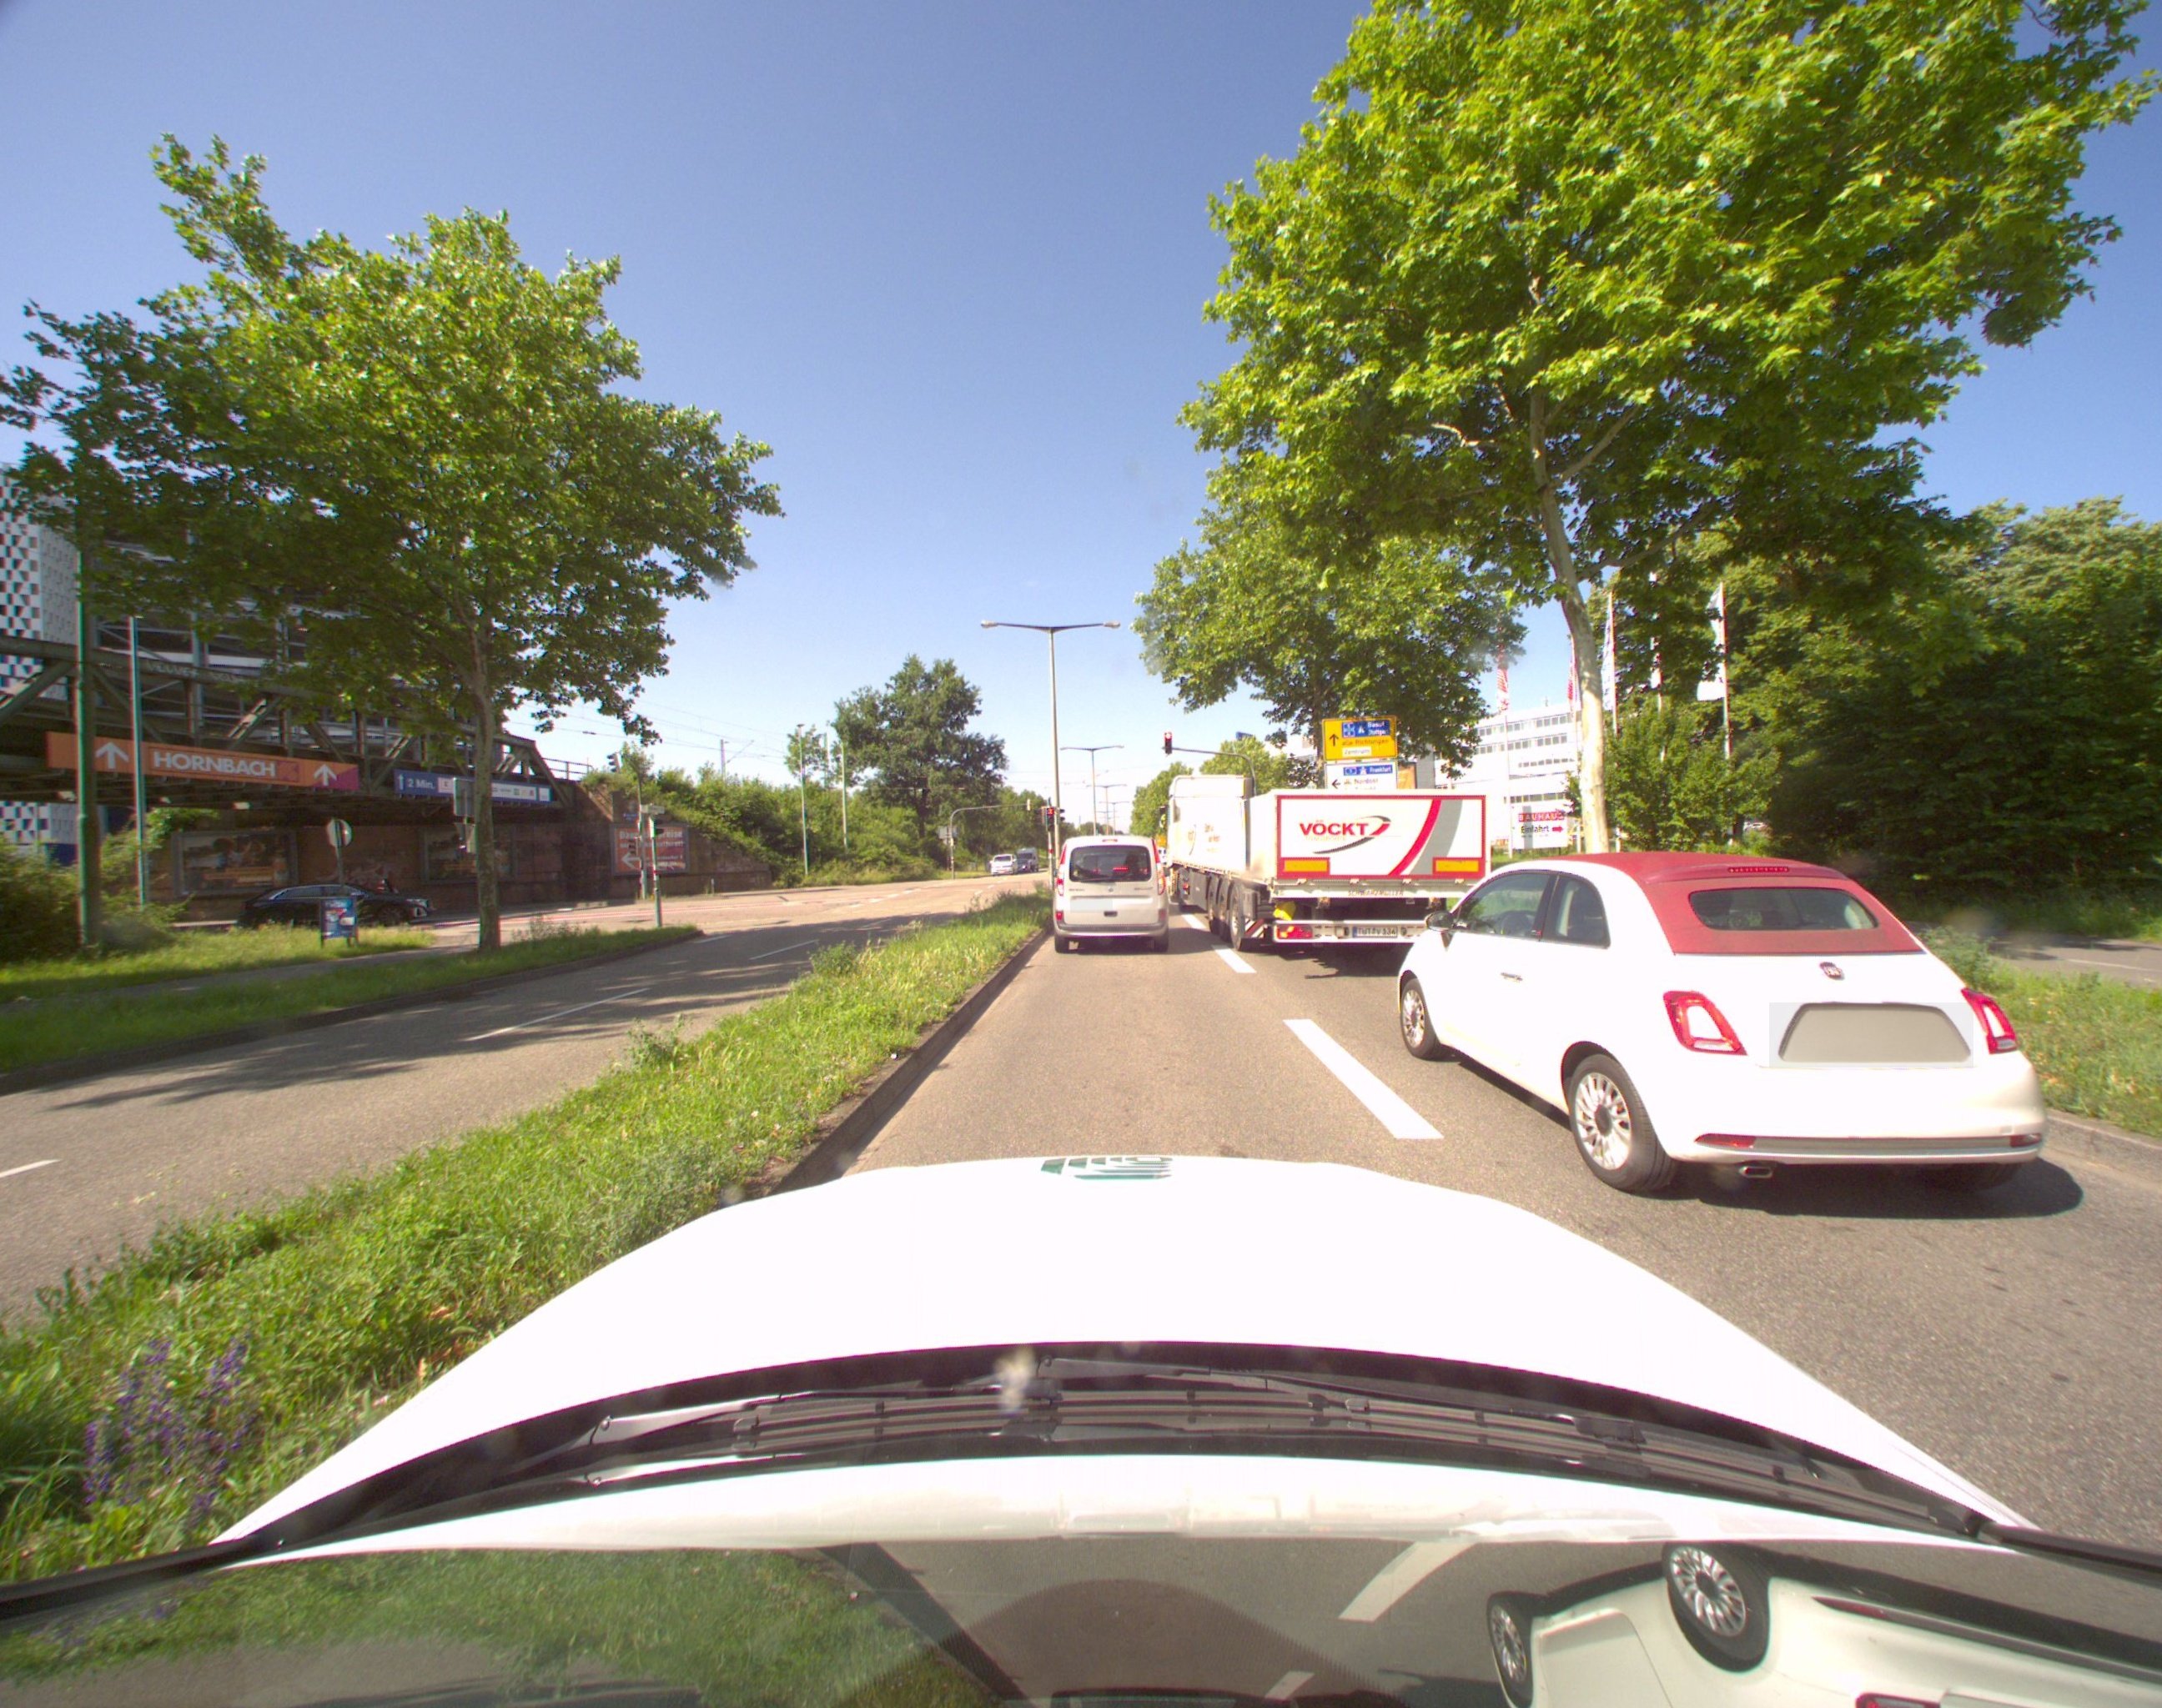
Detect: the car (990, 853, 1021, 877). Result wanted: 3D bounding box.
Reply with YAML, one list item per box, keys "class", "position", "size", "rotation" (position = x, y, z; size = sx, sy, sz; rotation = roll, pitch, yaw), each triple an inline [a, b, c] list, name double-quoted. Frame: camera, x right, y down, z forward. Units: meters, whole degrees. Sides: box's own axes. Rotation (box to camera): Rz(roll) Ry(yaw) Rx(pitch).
- class: "car"
  position: [-6.594, 0.930, 71.725]
  size: [1.986, 1.891, 4.989]
  rotation: [-4, 0, 1]

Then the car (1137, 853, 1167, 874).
- class: "car"
  position: [5.966, 0.790, 68.657]
  size: [1.989, 1.640, 3.995]
  rotation: [-1, 0, -3]

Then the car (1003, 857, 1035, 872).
- class: "car"
  position: [-6.241, 1.024, 81.461]
  size: [1.920, 1.409, 4.193]
  rotation: [-1, 0, -25]

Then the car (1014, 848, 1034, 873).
- class: "car"
  position: [-6.206, 0.659, 89.269]
  size: [2.055, 2.614, 5.861]
  rotation: [-1, 0, -4]

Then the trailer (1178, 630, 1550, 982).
- class: "trailer"
  position: [3.765, -0.492, 14.894]
  size: [3.004, 3.740, 12.247]
  rotation: [-1, 0, 3]

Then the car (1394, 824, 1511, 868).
- class: "car"
  position: [15.012, -0.296, 33.077]
  size: [3.965, 1.662, 1.727]
  rotation: [-1, 0, 7]

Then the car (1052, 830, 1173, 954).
- class: "car"
  position: [0.528, 0.562, 13.863]
  size: [1.742, 1.772, 3.951]
  rotation: [-1, 0, 2]

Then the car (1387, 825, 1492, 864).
- class: "car"
  position: [16.127, -0.414, 36.795]
  size: [3.965, 1.662, 1.727]
  rotation: [-1, 0, 7]

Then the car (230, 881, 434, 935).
- class: "car"
  position: [-26.037, 1.827, 28.594]
  size: [5.074, 1.596, 1.510]
  rotation: [-1, 0, -35]

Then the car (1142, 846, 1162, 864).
- class: "car"
  position: [8.254, 0.074, 94.778]
  size: [1.986, 2.013, 4.001]
  rotation: [-1, 0, 1]

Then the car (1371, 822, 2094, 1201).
- class: "car"
  position: [3.106, 0.618, 4.884]
  size: [1.654, 1.436, 3.523]
  rotation: [-1, 0, 4]

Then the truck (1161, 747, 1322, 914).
- class: "truck"
  position: [4.038, -0.520, 22.324]
  size: [3.060, 3.758, 7.478]
  rotation: [-1, 0, 1]
